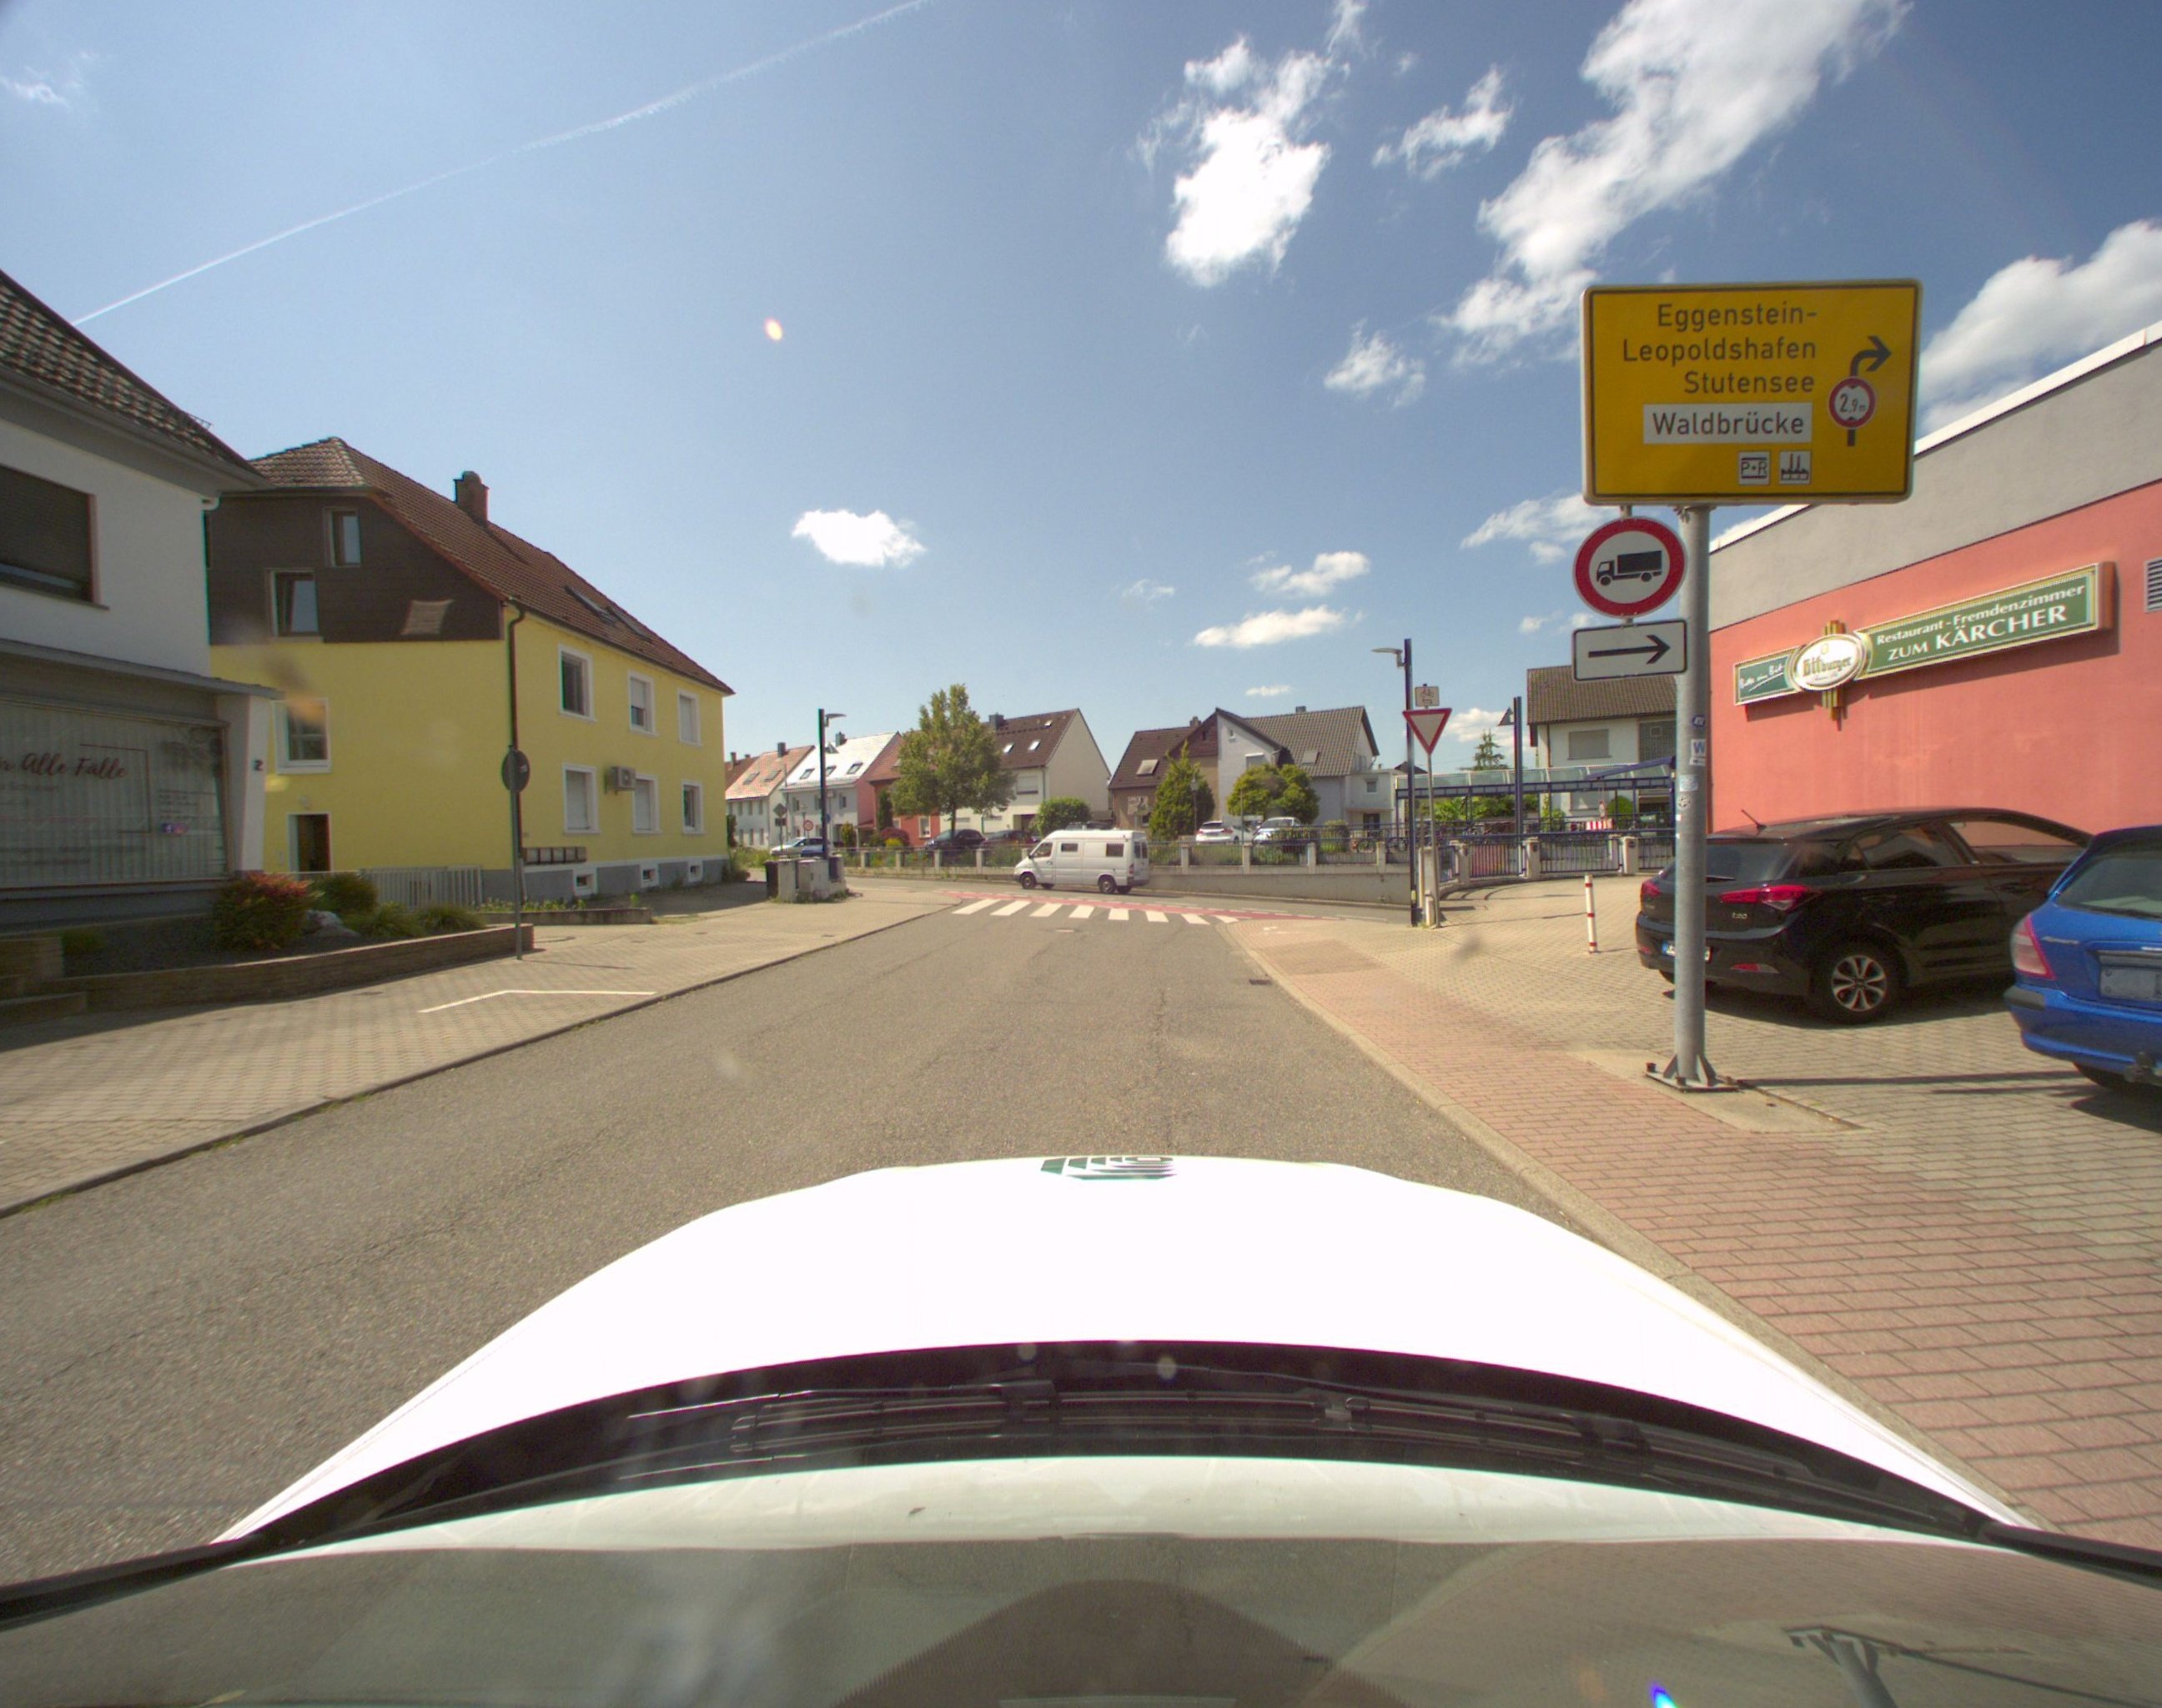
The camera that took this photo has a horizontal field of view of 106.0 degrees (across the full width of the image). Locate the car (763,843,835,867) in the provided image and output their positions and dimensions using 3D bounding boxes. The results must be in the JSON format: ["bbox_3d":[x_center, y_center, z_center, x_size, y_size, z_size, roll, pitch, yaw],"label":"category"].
[{"bbox_3d":[-18.721,0.064,54.204,1.725,1.488,4.283,3,1,35],"label":"car"}]

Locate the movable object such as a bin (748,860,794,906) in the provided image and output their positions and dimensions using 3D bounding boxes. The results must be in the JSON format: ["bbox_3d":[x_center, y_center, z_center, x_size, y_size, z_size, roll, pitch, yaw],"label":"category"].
[{"bbox_3d":[-8.703,0.801,22.893,0.881,1.225,0.903,-1,1,4],"label":"movable object such as a bin"}]
